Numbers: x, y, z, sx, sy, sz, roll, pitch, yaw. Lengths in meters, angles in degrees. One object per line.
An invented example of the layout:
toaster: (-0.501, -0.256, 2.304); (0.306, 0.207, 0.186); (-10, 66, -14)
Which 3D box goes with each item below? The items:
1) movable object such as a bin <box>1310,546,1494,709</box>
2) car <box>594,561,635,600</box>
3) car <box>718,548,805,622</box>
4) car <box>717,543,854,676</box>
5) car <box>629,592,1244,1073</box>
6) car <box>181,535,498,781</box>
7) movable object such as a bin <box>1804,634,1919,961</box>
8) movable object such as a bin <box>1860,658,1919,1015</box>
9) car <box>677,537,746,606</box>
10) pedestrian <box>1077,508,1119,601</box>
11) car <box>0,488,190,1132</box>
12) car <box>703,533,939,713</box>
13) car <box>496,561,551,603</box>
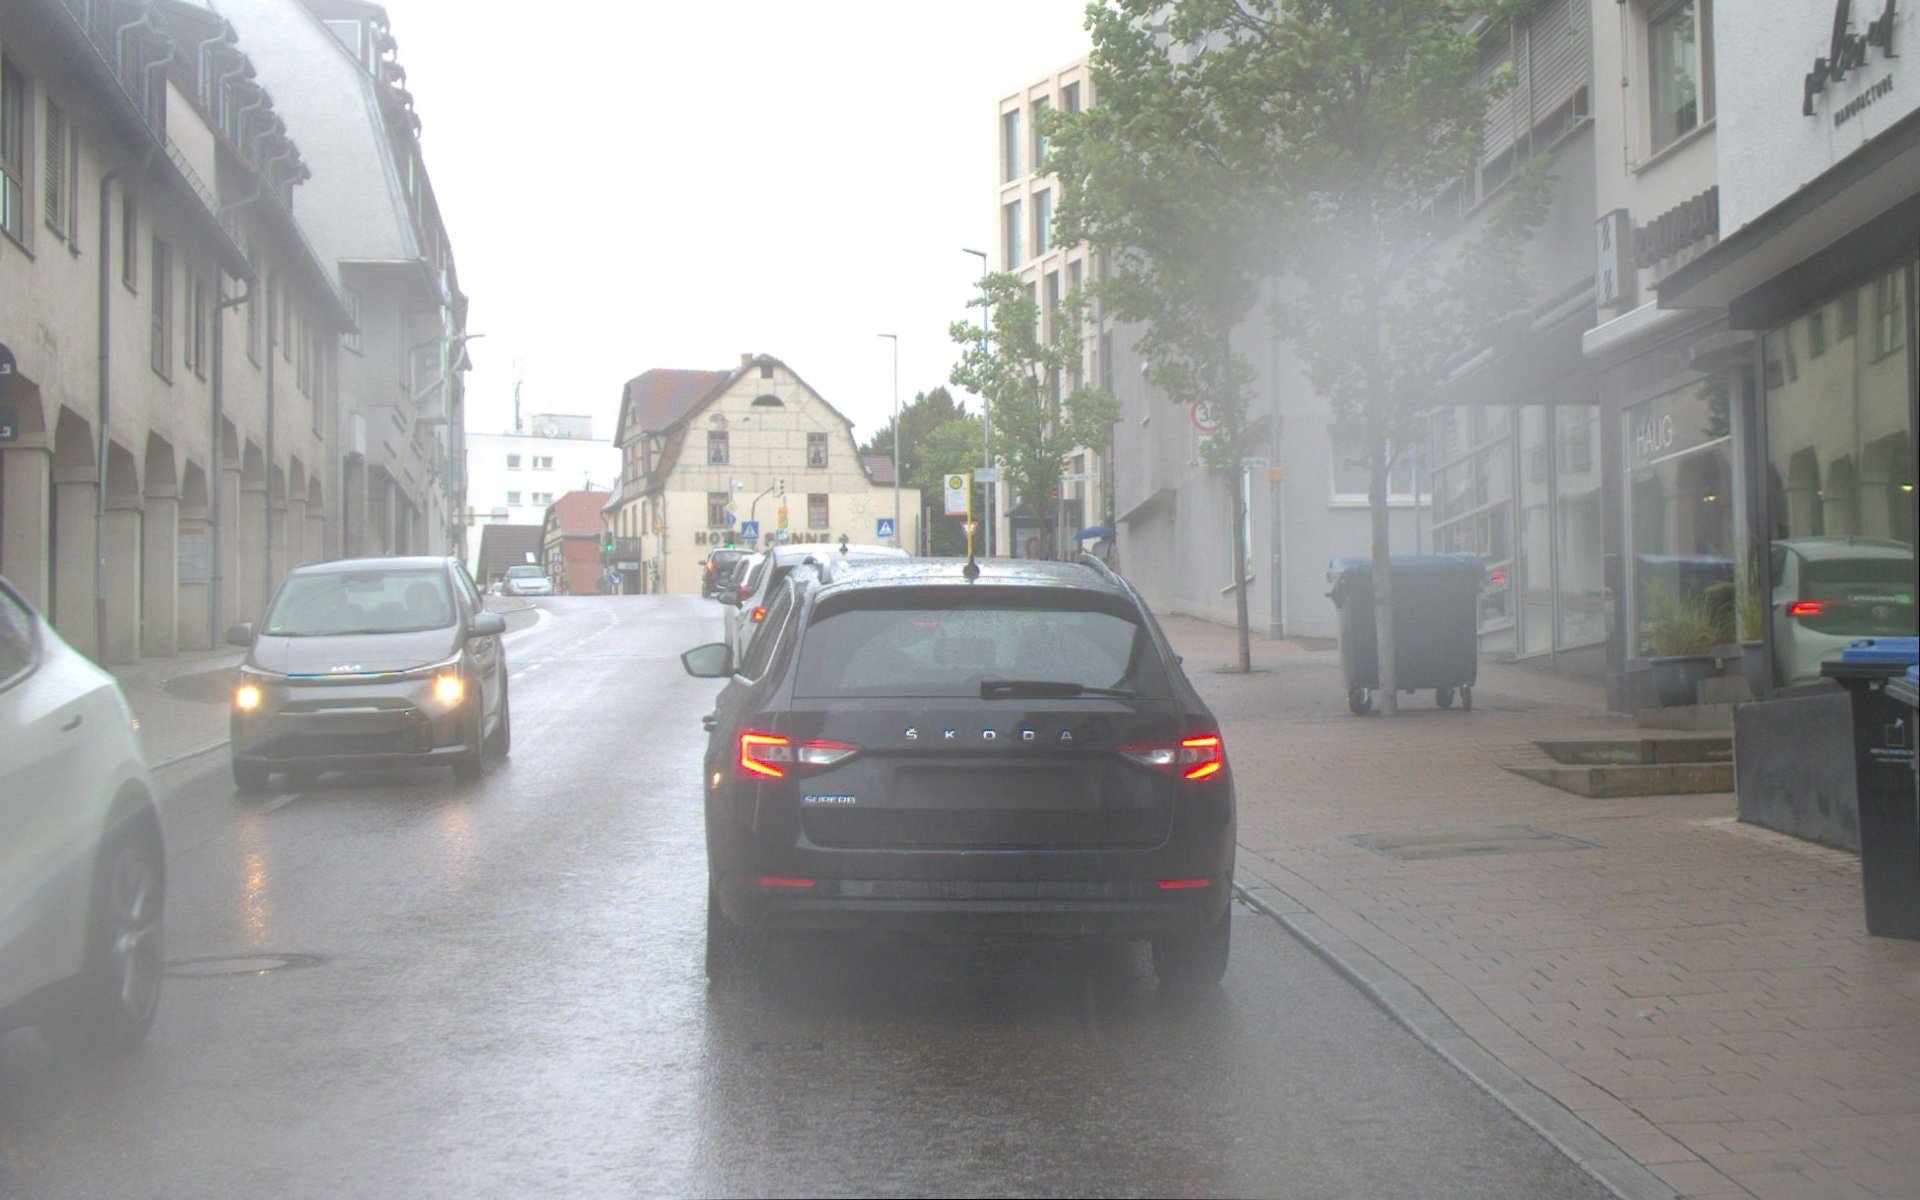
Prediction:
movable object such as a bin: (3.740, 0.220, 29.216); (1.286, 1.345, 1.487); (0, 0, -4)
car: (-14.140, -0.807, 140.713); (1.627, 1.525, 4.001); (1, 1, -6)
car: (-4.345, -0.342, 74.892); (1.703, 1.546, 3.607); (1, 1, -6)
car: (-2.368, 0.156, 45.848); (1.627, 1.525, 4.000); (0, -4, -6)
car: (-0.059, 0.711, 12.748); (1.887, 1.443, 4.357); (0, 1, 0)
car: (-4.120, 0.343, 23.324); (1.773, 1.528, 3.711); (0, 1, -5)
movable object such as a bin: (3.402, 0.672, 12.078); (0.659, 1.058, 0.614); (-4, 3, 0)
movable object such as a bin: (3.314, 0.751, 11.131); (0.567, 1.104, 0.676); (-3, 2, 0)
car: (-7.379, -0.863, 102.423); (1.993, 2.007, 4.001); (0, 1, -3)
pedestrian: (2.564, -0.851, 63.949); (0.705, 1.719, 0.832); (1, 1, 0)
car: (-3.438, 0.587, 8.774); (1.873, 1.656, 4.308); (-3, 1, 0)
car: (-1.148, 0.172, 30.116); (1.856, 1.468, 4.000); (0, 1, 1)
car: (-17.585, -0.735, 138.686); (1.993, 1.645, 4.001); (0, 1, -5)
